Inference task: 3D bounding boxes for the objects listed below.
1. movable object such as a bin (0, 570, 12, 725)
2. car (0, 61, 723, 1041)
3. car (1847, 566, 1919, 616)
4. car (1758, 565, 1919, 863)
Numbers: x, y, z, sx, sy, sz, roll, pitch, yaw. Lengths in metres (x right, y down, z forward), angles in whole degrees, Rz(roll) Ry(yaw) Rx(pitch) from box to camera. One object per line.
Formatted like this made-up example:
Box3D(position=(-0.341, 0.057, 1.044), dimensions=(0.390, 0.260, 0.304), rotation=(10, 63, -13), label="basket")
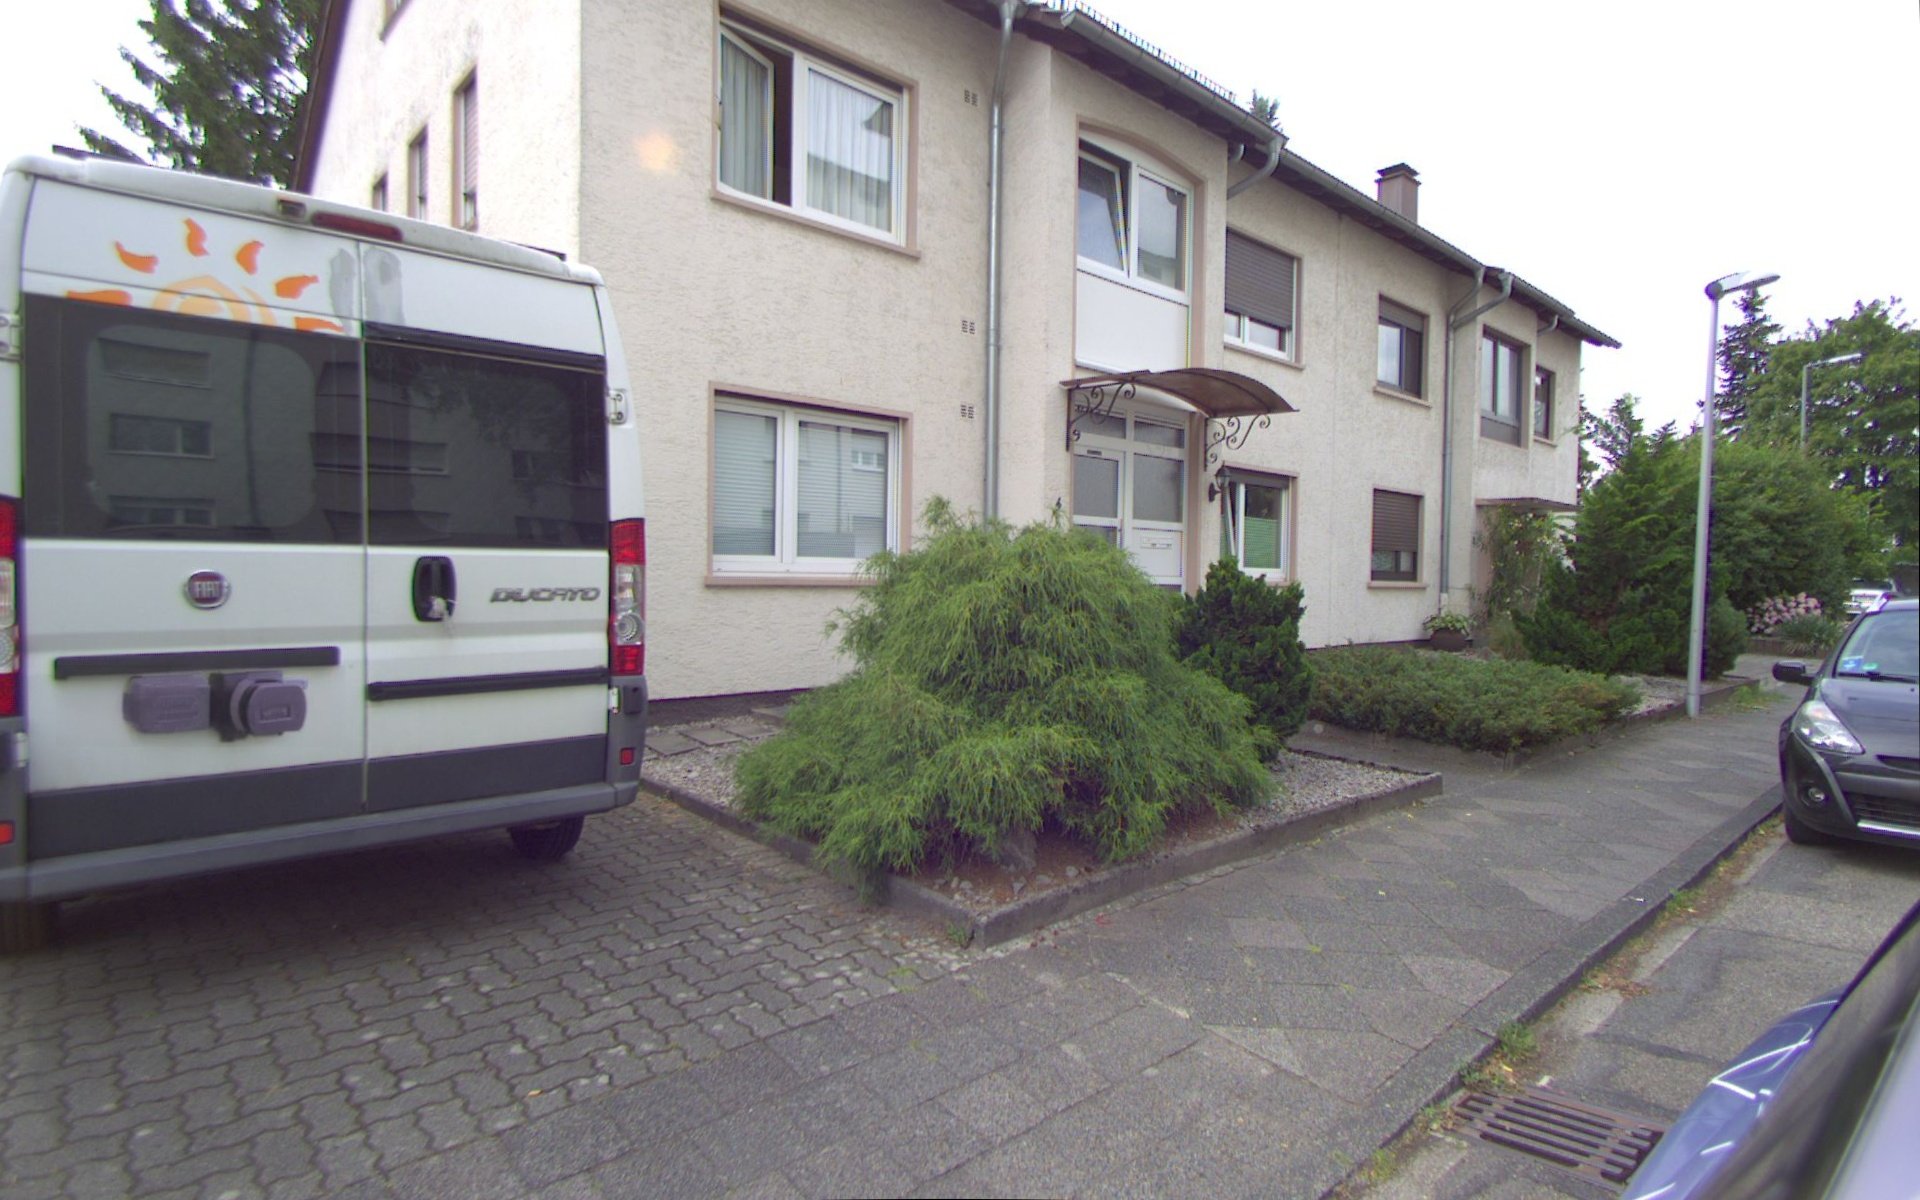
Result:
Box3D(position=(-7.052, 0.335, 7.127), dimensions=(0.537, 1.069, 0.456), rotation=(-1, 4, -43), label="movable object such as a bin")
Box3D(position=(-3.459, -0.258, 5.238), dimensions=(2.199, 2.573, 5.098), rotation=(0, 3, -41), label="car")
Box3D(position=(30.403, -0.346, 33.194), dimensions=(3.936, 1.484, 1.702), rotation=(-3, 4, -45), label="car")
Box3D(position=(6.425, 0.551, 6.267), dimensions=(4.122, 1.476, 1.831), rotation=(-1, 1, -44), label="car")
